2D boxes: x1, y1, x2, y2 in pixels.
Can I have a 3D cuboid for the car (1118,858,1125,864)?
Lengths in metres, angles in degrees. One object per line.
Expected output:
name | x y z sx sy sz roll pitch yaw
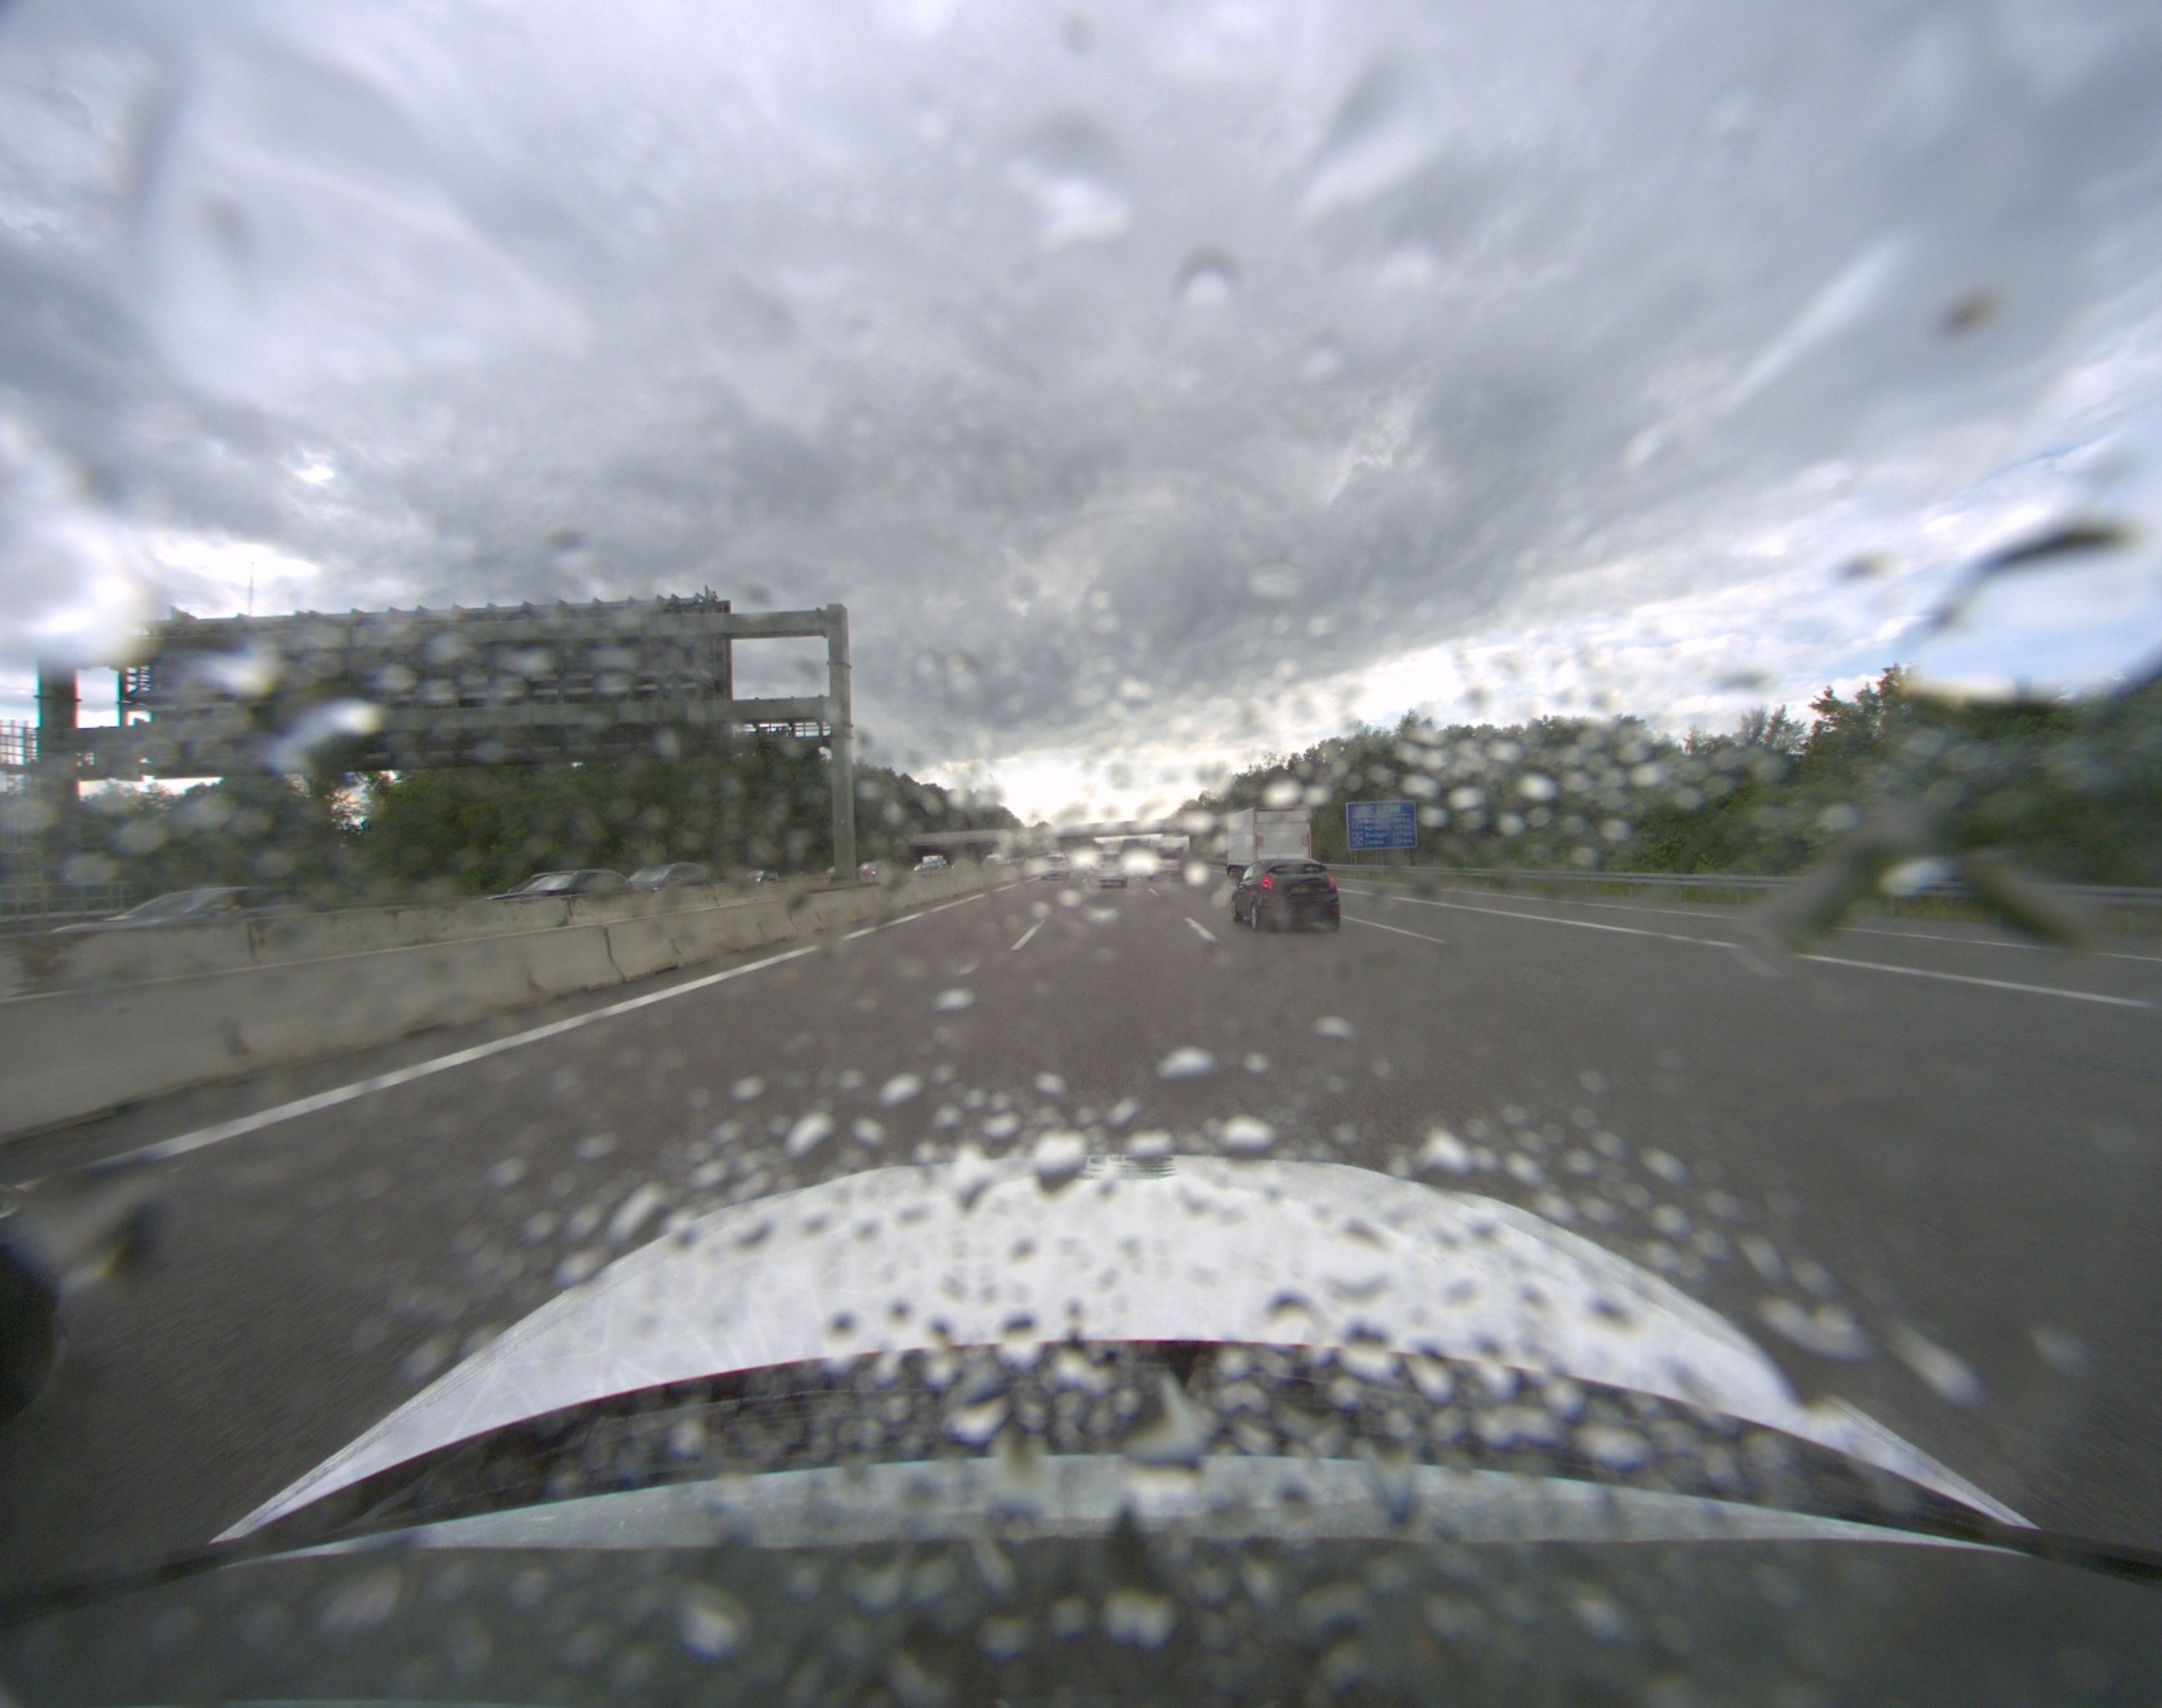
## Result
car | 11.840 2.152 240.161 1.876 1.686 3.998 -1 0 -1

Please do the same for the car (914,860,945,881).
car | -15.160 1.631 81.672 1.986 2.014 4.767 -1 0 2

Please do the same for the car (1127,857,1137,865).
car | 11.208 1.513 179.506 2.035 1.823 4.906 -1 0 2

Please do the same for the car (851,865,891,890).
car | -15.639 1.737 60.774 1.672 1.745 4.339 -1 0 2

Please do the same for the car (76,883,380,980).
car | -17.263 1.481 16.830 1.986 1.596 4.002 -1 0 2

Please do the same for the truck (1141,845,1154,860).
truck | 16.558 -0.361 203.482 2.894 3.810 7.278 -1 0 2

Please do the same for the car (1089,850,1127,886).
car | 1.368 0.671 40.952 1.774 1.716 4.355 -1 0 3

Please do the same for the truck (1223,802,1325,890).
truck | 9.196 -0.328 40.121 3.120 3.709 9.854 -1 0 3

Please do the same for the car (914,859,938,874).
car | -20.976 1.608 110.166 1.986 1.952 5.228 -1 0 2

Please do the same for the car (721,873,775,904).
car | -24.058 2.453 59.054 1.901 2.014 4.563 -1 0 2

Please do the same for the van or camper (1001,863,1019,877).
van or camper | -14.913 3.381 171.169 2.595 2.707 8.129 -1 0 2

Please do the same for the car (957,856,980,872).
car | -14.298 1.202 103.438 1.986 1.952 5.228 -1 0 2

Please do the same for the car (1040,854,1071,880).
car | -1.682 0.842 55.225 1.809 1.689 4.853 -1 0 1

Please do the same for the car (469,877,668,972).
car | -12.921 1.682 20.994 1.986 2.014 4.762 -1 0 2

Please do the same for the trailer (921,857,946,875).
trailer | -20.775 1.662 115.222 2.233 2.375 5.787 -1 0 2

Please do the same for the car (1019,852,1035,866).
car | -8.957 0.797 134.696 1.986 2.181 5.292 -1 0 2

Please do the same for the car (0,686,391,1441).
car | -3.657 0.513 0.469 1.986 1.821 5.164 -1 0 2

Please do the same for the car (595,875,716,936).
car | -16.175 1.888 31.270 1.986 2.014 4.762 -1 0 2

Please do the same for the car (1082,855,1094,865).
car | 1.105 0.952 128.719 1.774 1.481 4.354 -1 0 2

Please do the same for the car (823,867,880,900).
car | -11.971 1.496 42.772 1.722 1.596 4.002 -1 0 2

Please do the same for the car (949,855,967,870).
car | -17.360 1.207 115.214 1.810 2.014 4.002 -1 0 2

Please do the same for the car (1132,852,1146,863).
car | 9.641 0.610 135.521 2.035 1.823 4.906 -1 0 2

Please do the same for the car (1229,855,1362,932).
car | 4.410 0.752 17.423 1.877 1.407 4.285 -1 0 2

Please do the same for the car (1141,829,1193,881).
car | 5.131 0.095 49.762 2.557 2.895 7.536 -1 0 2
